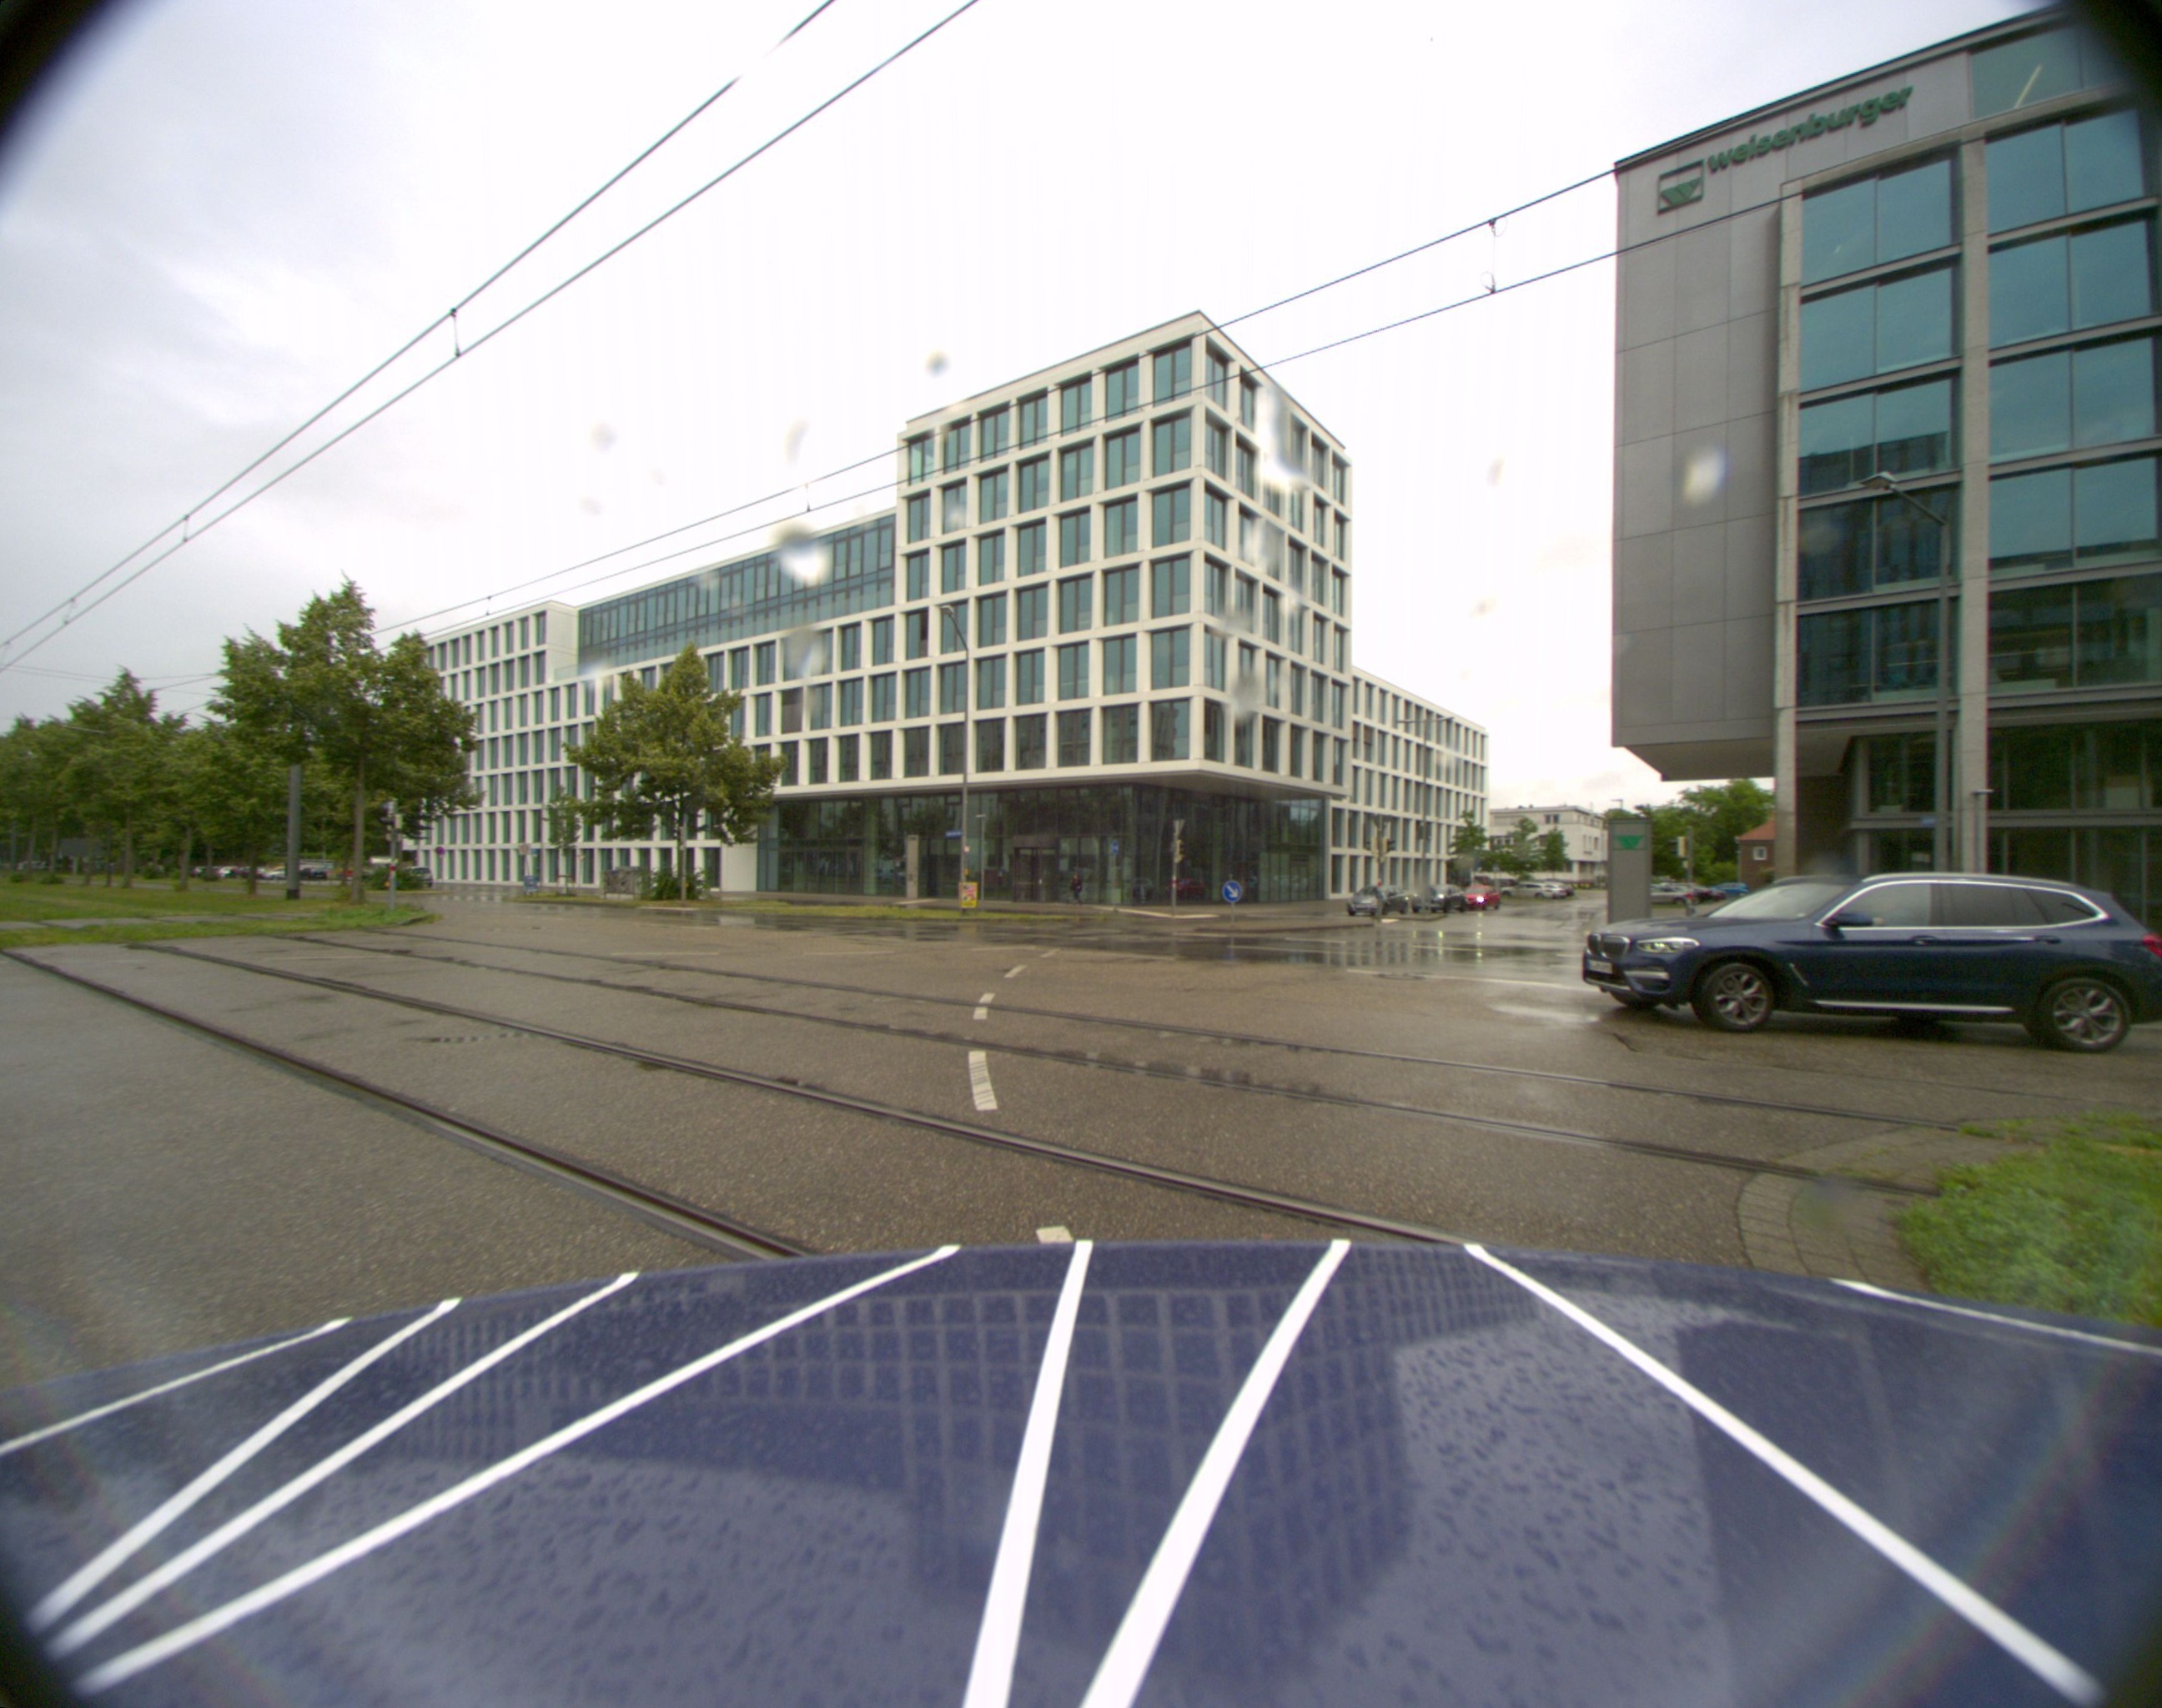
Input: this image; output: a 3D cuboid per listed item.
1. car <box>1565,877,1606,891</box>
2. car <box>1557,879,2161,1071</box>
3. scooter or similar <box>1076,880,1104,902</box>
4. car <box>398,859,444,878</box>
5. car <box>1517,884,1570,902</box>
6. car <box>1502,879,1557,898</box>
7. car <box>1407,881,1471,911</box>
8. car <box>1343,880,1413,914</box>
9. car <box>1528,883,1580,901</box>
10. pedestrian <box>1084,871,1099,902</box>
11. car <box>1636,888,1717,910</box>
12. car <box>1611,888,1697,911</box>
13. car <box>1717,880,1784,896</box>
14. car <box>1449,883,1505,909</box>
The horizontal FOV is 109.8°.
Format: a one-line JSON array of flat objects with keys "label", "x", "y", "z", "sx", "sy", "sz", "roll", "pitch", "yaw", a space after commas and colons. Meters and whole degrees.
[{"label": "car", "x": 63.264, "y": 3.777, "z": 95.285, "sx": 3.989, "sy": 1.652, "sz": 2.004, "roll": -2, "pitch": -2, "yaw": 39}, {"label": "car", "x": 8.145, "y": 1.148, "z": 8.196, "sx": 4.708, "sy": 1.650, "sz": 1.931, "roll": 1, "pitch": -1, "yaw": 9}, {"label": "scooter or similar", "x": 0.502, "y": 2.003, "z": 41.154, "sx": 0.549, "sy": 1.145, "sz": 2.167, "roll": -2, "pitch": -2, "yaw": 29}, {"label": "car", "x": -59.178, "y": 1.311, "z": 68.118, "sx": 4.225, "sy": 1.599, "sz": 1.748, "roll": -2, "pitch": -2, "yaw": 28}, {"label": "car", "x": 43.826, "y": 3.695, "z": 71.980, "sx": 3.989, "sy": 1.652, "sz": 2.004, "roll": -2, "pitch": -2, "yaw": 39}, {"label": "car", "x": 40.613, "y": 3.159, "z": 68.883, "sx": 3.989, "sy": 1.652, "sz": 2.004, "roll": -2, "pitch": -2, "yaw": 39}, {"label": "car", "x": 19.246, "y": 2.241, "z": 40.766, "sx": 1.882, "sy": 1.427, "sz": 4.104, "roll": -3, "pitch": -2, "yaw": 44}, {"label": "car", "x": 14.127, "y": 2.002, "z": 36.028, "sx": 1.882, "sy": 1.427, "sz": 4.104, "roll": -2, "pitch": -2, "yaw": 39}, {"label": "car", "x": 45.863, "y": 3.703, "z": 73.749, "sx": 3.989, "sy": 1.652, "sz": 2.004, "roll": -2, "pitch": -2, "yaw": 39}, {"label": "pedestrian", "x": 0.562, "y": 1.772, "z": 41.126, "sx": 0.544, "sy": 1.634, "sz": 0.636, "roll": 2, "pitch": 0, "yaw": 31}, {"label": "car", "x": 45.310, "y": 3.409, "z": 57.858, "sx": 4.647, "sy": 1.499, "sz": 2.005, "roll": -3, "pitch": -2, "yaw": 44}, {"label": "car", "x": 41.190, "y": 3.253, "z": 54.697, "sx": 4.647, "sy": 1.499, "sz": 2.005, "roll": -3, "pitch": -2, "yaw": 44}, {"label": "car", "x": 68.761, "y": 3.513, "z": 78.116, "sx": 5.014, "sy": 1.499, "sz": 1.858, "roll": -3, "pitch": -2, "yaw": 44}, {"label": "car", "x": 23.943, "y": 2.494, "z": 45.874, "sx": 1.882, "sy": 1.427, "sz": 4.104, "roll": -3, "pitch": -2, "yaw": 44}]
